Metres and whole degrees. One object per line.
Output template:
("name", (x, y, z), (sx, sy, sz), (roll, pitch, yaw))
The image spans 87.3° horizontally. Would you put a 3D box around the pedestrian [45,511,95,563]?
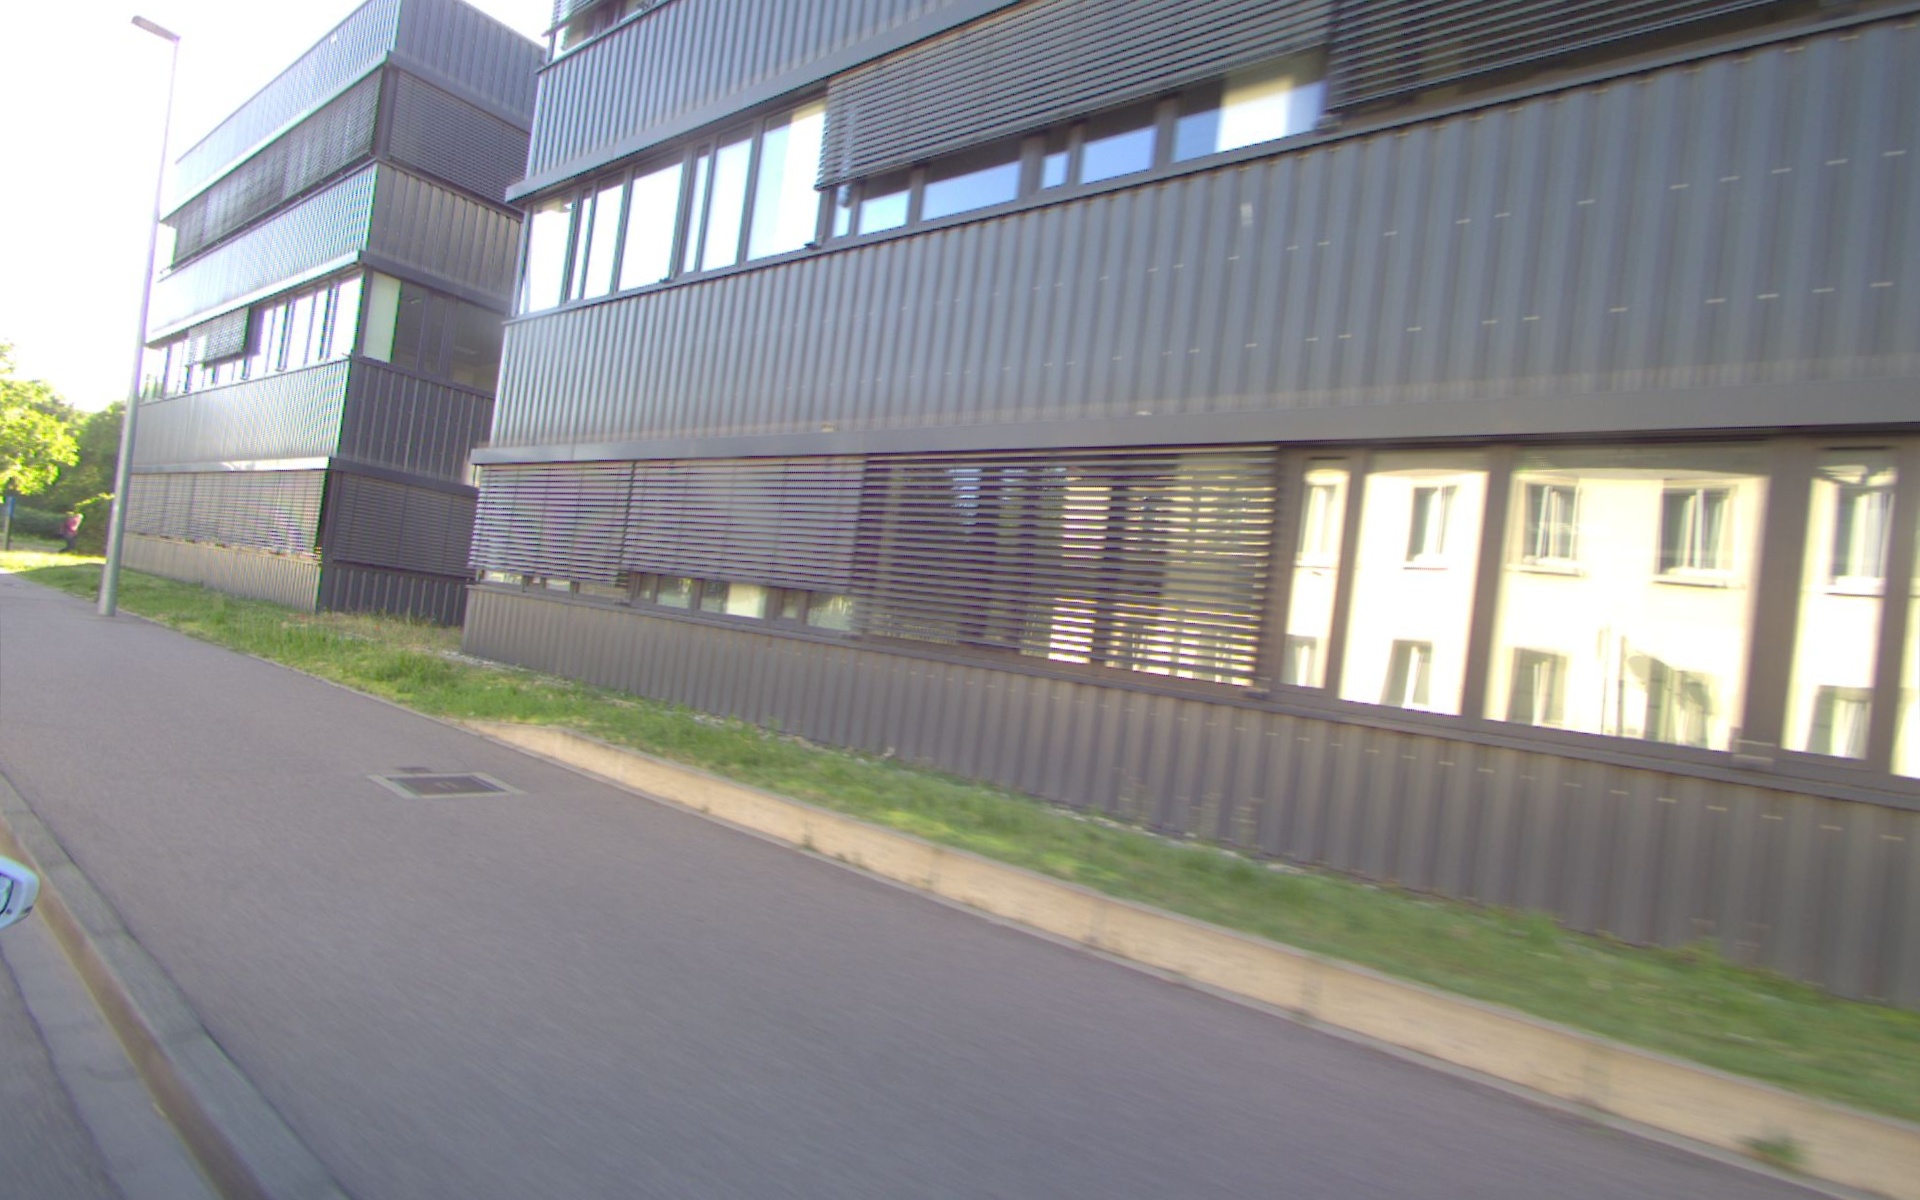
("pedestrian", (-33.414, -2.361, 37.760), (0.882, 1.815, 1.151), (6, 1, 36))
